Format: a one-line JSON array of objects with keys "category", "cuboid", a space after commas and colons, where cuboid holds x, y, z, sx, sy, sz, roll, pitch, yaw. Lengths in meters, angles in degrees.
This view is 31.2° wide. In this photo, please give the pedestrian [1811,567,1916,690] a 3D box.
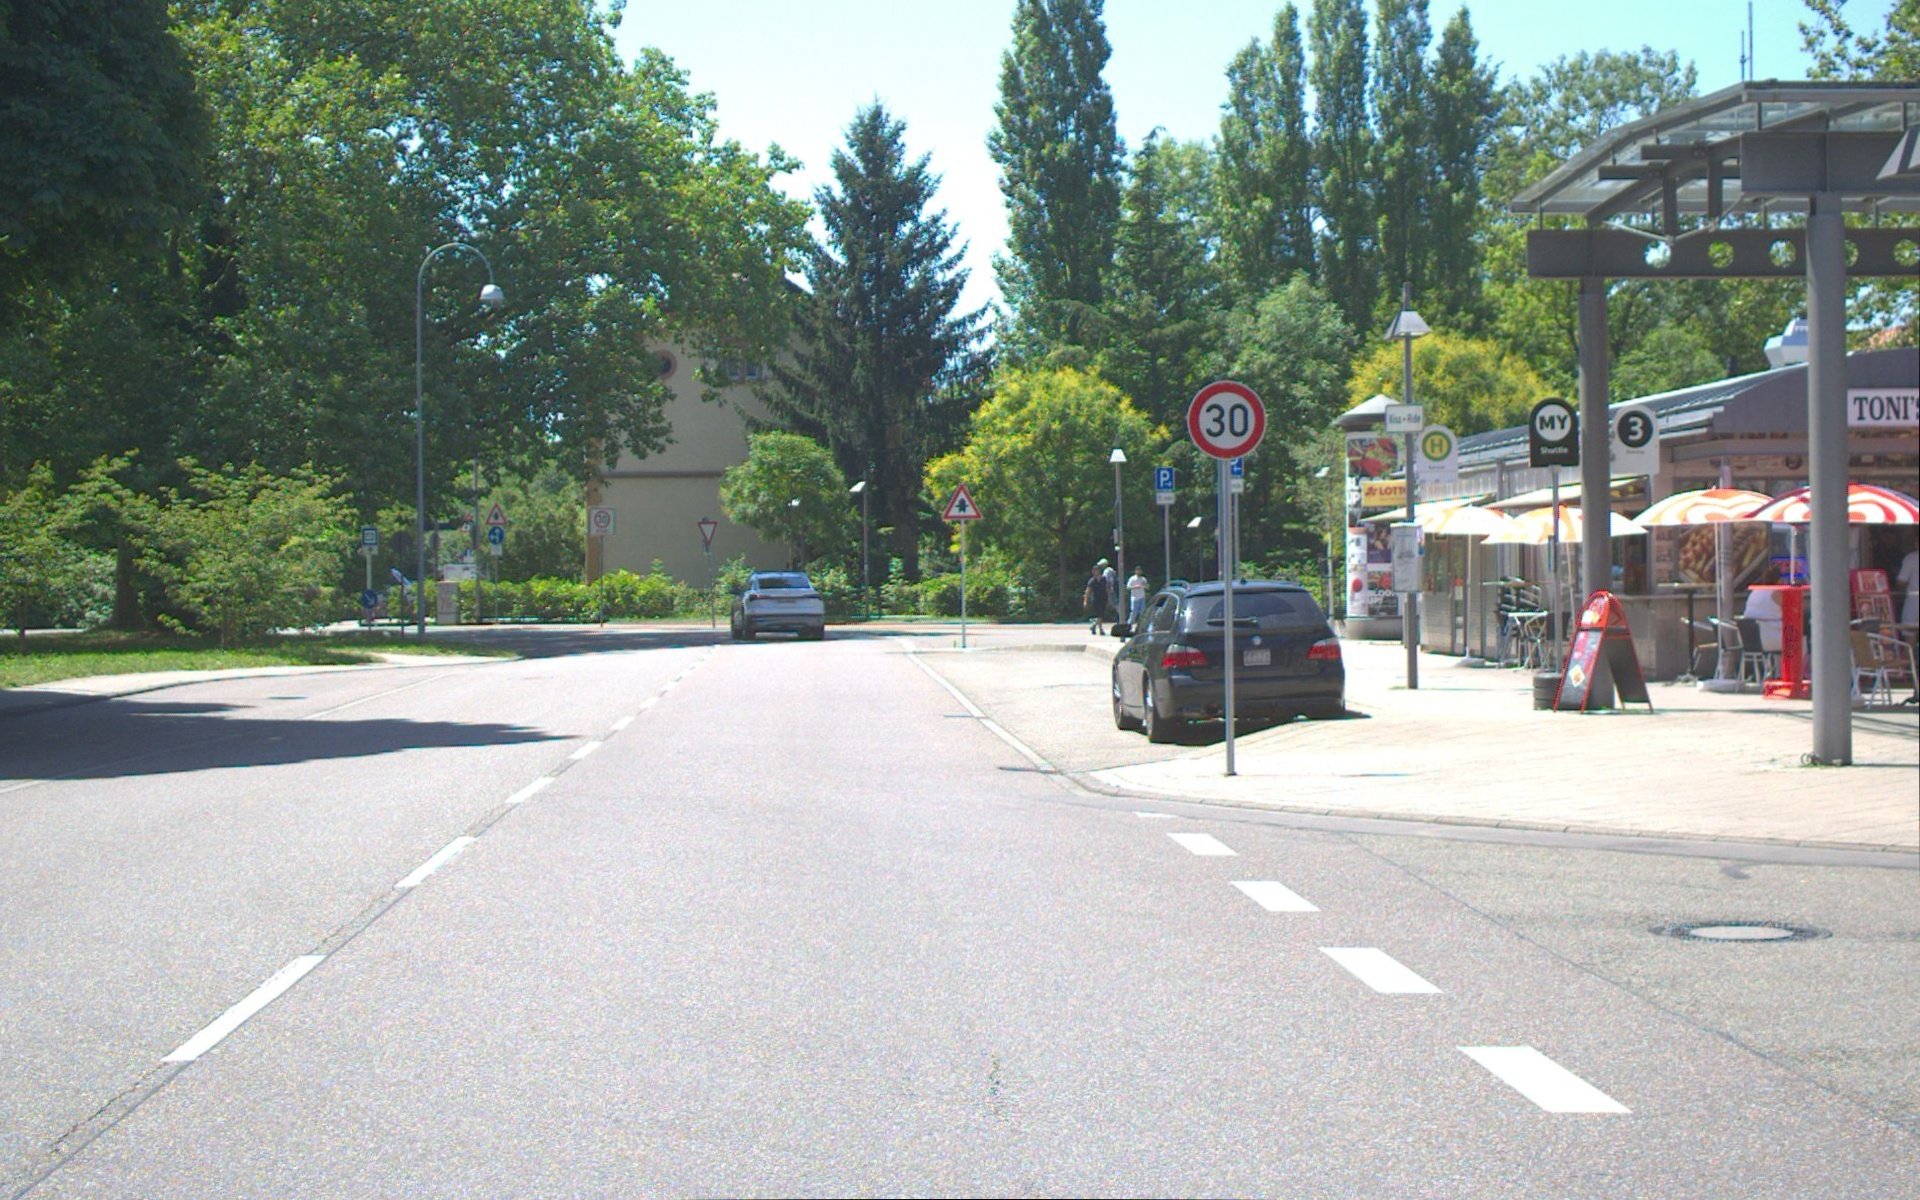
[{"category": "pedestrian", "cuboid": [9.782, 0.303, 37.230, 0.892, 1.308, 0.688, 0, 0, -37]}]

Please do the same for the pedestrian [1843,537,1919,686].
[{"category": "pedestrian", "cuboid": [10.881, 0.133, 40.628, 0.686, 1.732, 0.707, 0, 0, -2]}]

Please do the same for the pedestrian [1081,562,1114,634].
[{"category": "pedestrian", "cuboid": [3.757, -0.061, 94.064, 0.854, 1.959, 0.806, 0, 0, -1]}]

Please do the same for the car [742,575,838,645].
[{"category": "car", "cuboid": [-4.087, 0.221, 83.351, 1.982, 1.621, 4.778, -1, 1, 1]}]

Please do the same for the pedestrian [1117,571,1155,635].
[{"category": "pedestrian", "cuboid": [4.545, 0.081, 88.663, 0.721, 1.644, 0.750, 0, -2, 26]}]

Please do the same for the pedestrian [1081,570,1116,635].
[{"category": "pedestrian", "cuboid": [3.511, 0.064, 87.172, 0.636, 1.644, 0.750, 0, -2, 26]}]

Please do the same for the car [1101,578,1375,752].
[{"category": "car", "cuboid": [2.592, 0.571, 33.168, 1.926, 1.455, 4.725, -3, 0, -3]}]

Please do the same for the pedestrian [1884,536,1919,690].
[{"category": "pedestrian", "cuboid": [10.955, 0.146, 39.072, 0.686, 1.732, 0.707, 0, 0, -2]}]

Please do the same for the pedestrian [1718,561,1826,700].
[{"category": "pedestrian", "cuboid": [8.401, 0.306, 35.585, 0.892, 1.413, 0.688, 0, 0, -40]}]
